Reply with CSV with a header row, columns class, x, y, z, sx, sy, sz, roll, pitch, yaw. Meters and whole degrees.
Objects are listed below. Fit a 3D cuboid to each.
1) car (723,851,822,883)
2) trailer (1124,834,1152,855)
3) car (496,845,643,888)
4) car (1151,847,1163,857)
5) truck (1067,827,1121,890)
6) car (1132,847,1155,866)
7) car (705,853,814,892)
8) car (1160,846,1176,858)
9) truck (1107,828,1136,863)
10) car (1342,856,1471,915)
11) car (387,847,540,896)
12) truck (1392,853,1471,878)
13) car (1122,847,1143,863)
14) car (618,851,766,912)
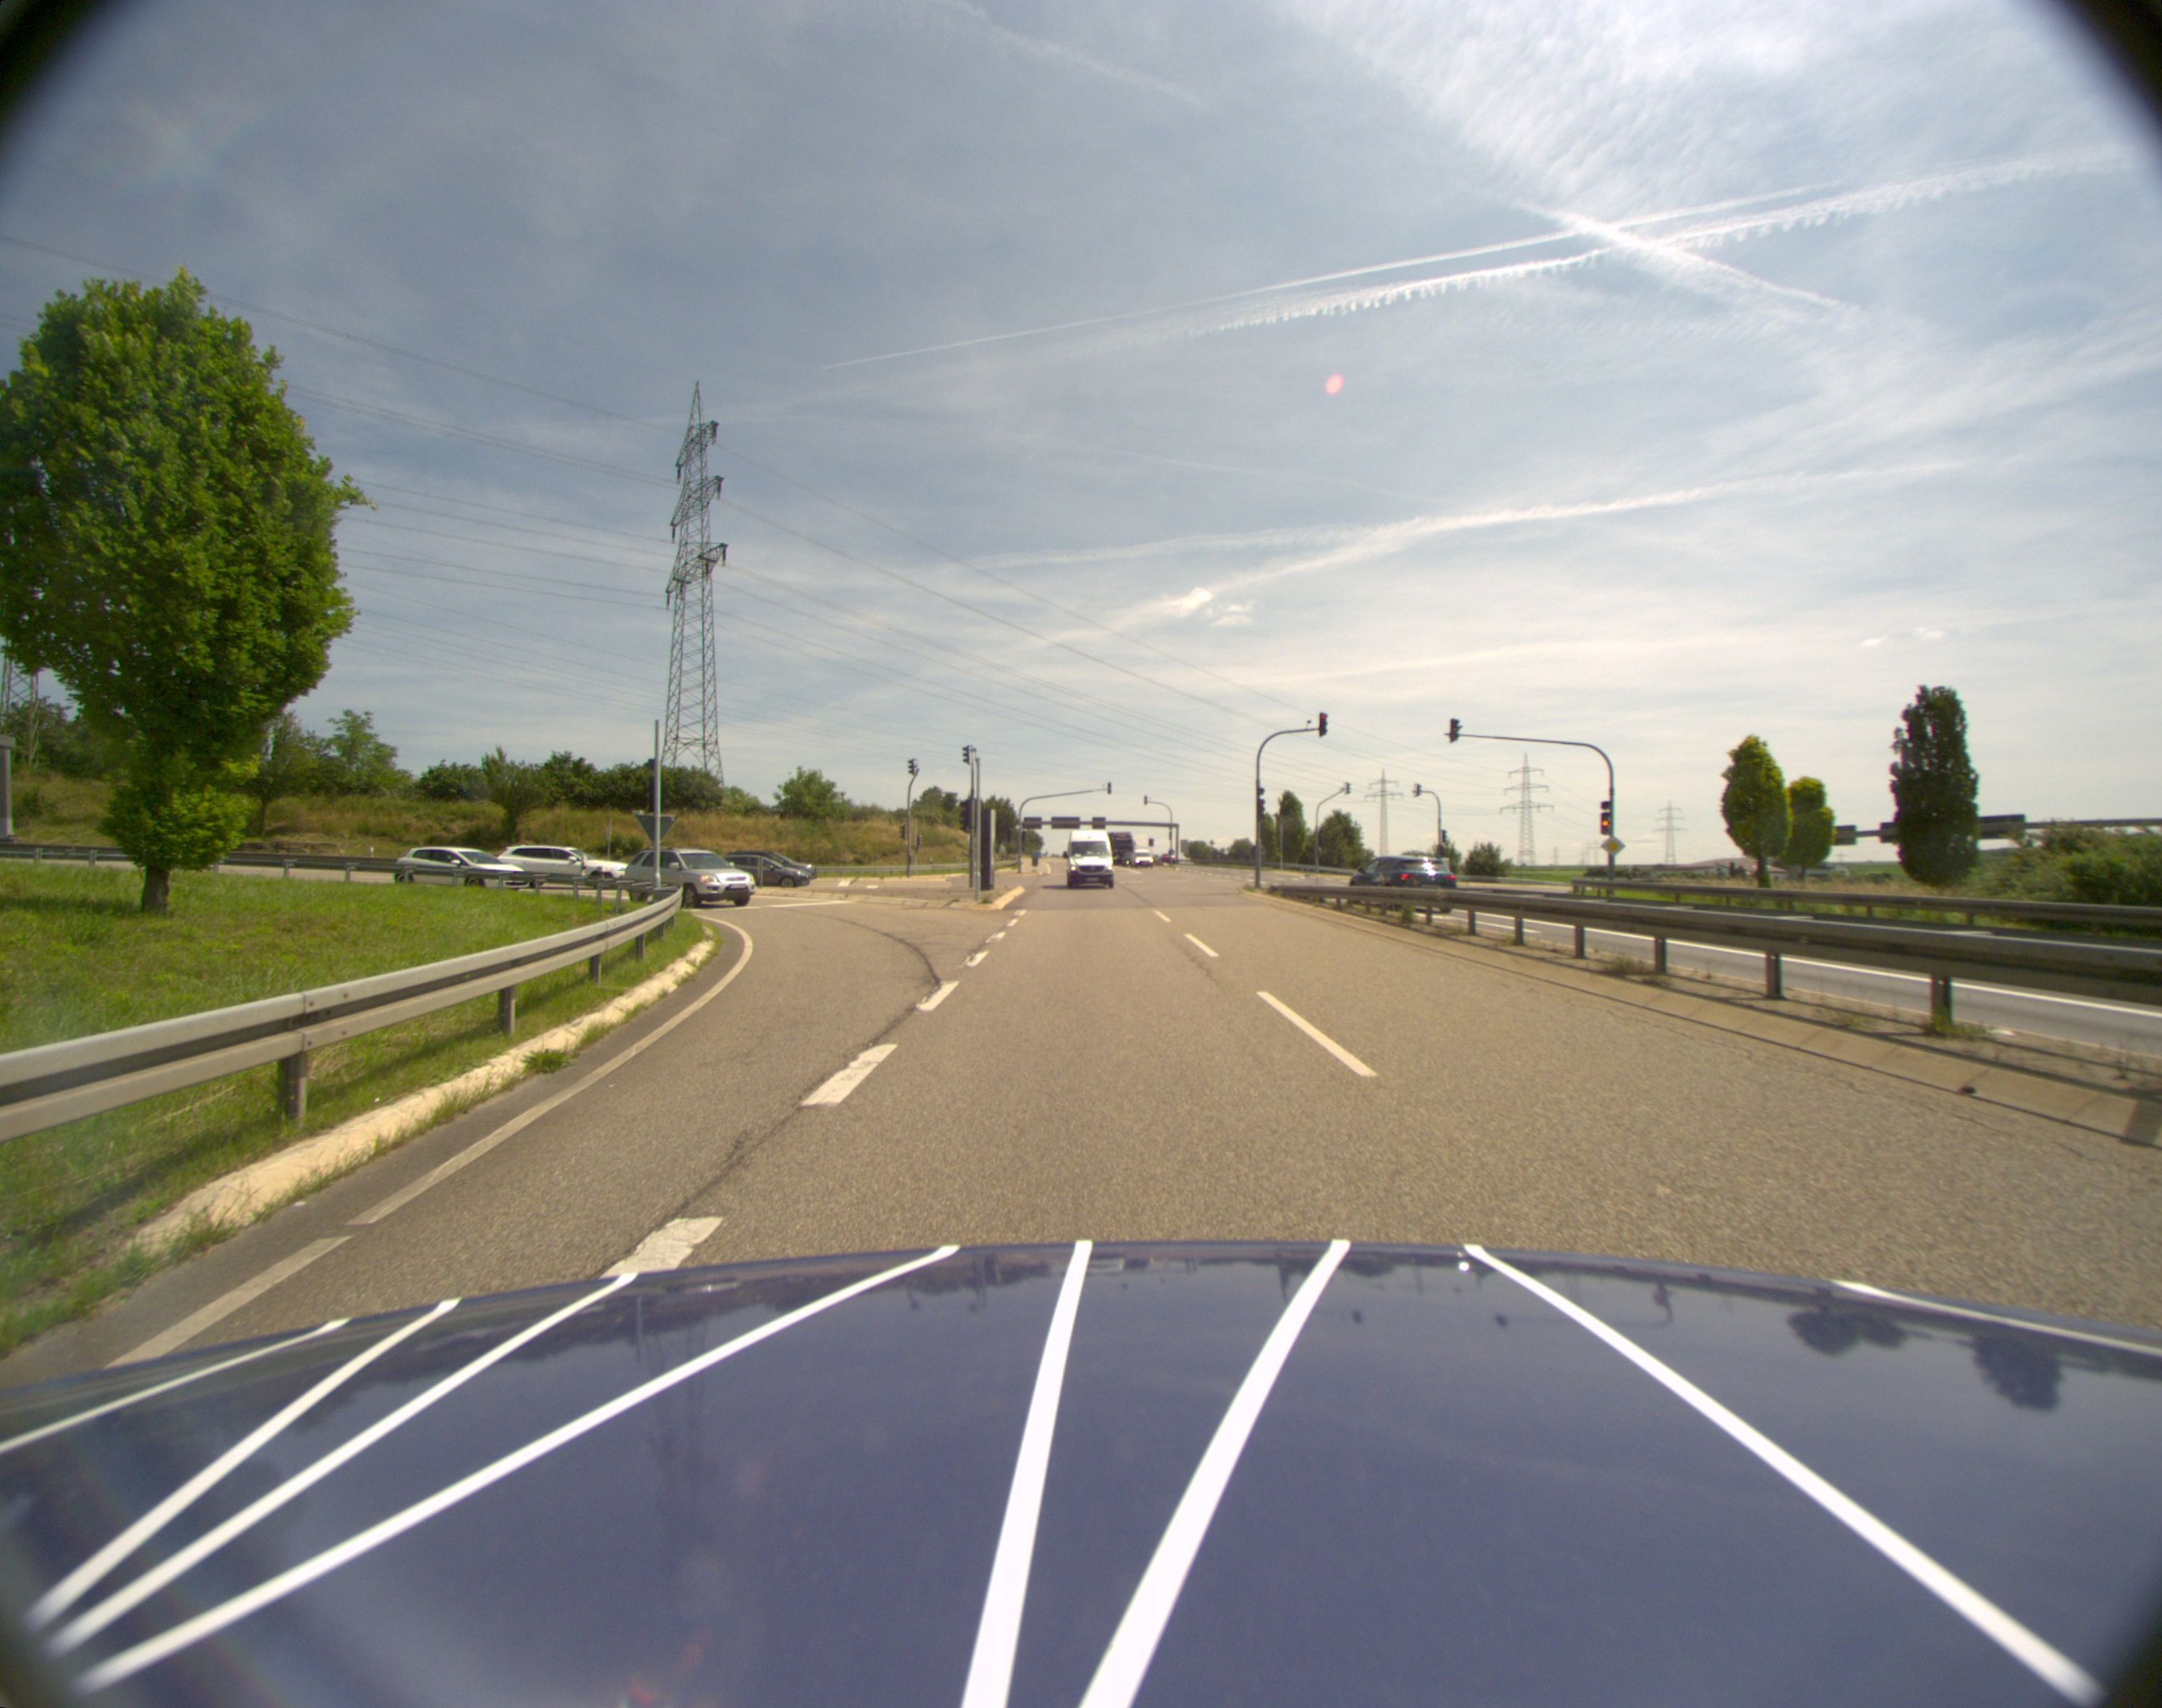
class,x,y,z,sx,sy,sz,roll,pitch,yaw
car,-15.247,0.659,37.796,4.375,1.501,1.714,1,-1,-15
trailer,10.933,-1.936,147.497,2.647,3.742,19.787,0,1,-4
car,-19.866,0.461,29.697,4.374,1.583,1.777,0,1,-14
car,12.576,-0.349,126.378,1.648,1.488,3.800,1,1,0
truck,0.473,0.164,33.317,1.999,2.518,5.103,-1,1,-3
car,6.188,0.191,75.754,1.772,1.788,4.751,-1,1,-1
car,-13.313,0.746,31.730,4.003,1.502,1.713,0,1,-17
car,12.779,-0.348,112.054,1.648,1.614,4.326,2,1,-1
truck,4.880,-1.050,91.784,2.791,3.990,5.968,-1,1,-4
car,8.951,0.797,21.313,1.760,1.460,4.195,0,0,-1
car,-21.131,0.561,26.074,3.994,1.591,1.782,1,1,7
truck,26.965,0.883,58.494,5.283,1.747,1.998,2,1,-10
car,5.654,0.125,83.684,1.861,1.648,4.347,-1,1,-2
car,-11.575,0.740,22.560,4.360,1.645,1.840,0,1,31
